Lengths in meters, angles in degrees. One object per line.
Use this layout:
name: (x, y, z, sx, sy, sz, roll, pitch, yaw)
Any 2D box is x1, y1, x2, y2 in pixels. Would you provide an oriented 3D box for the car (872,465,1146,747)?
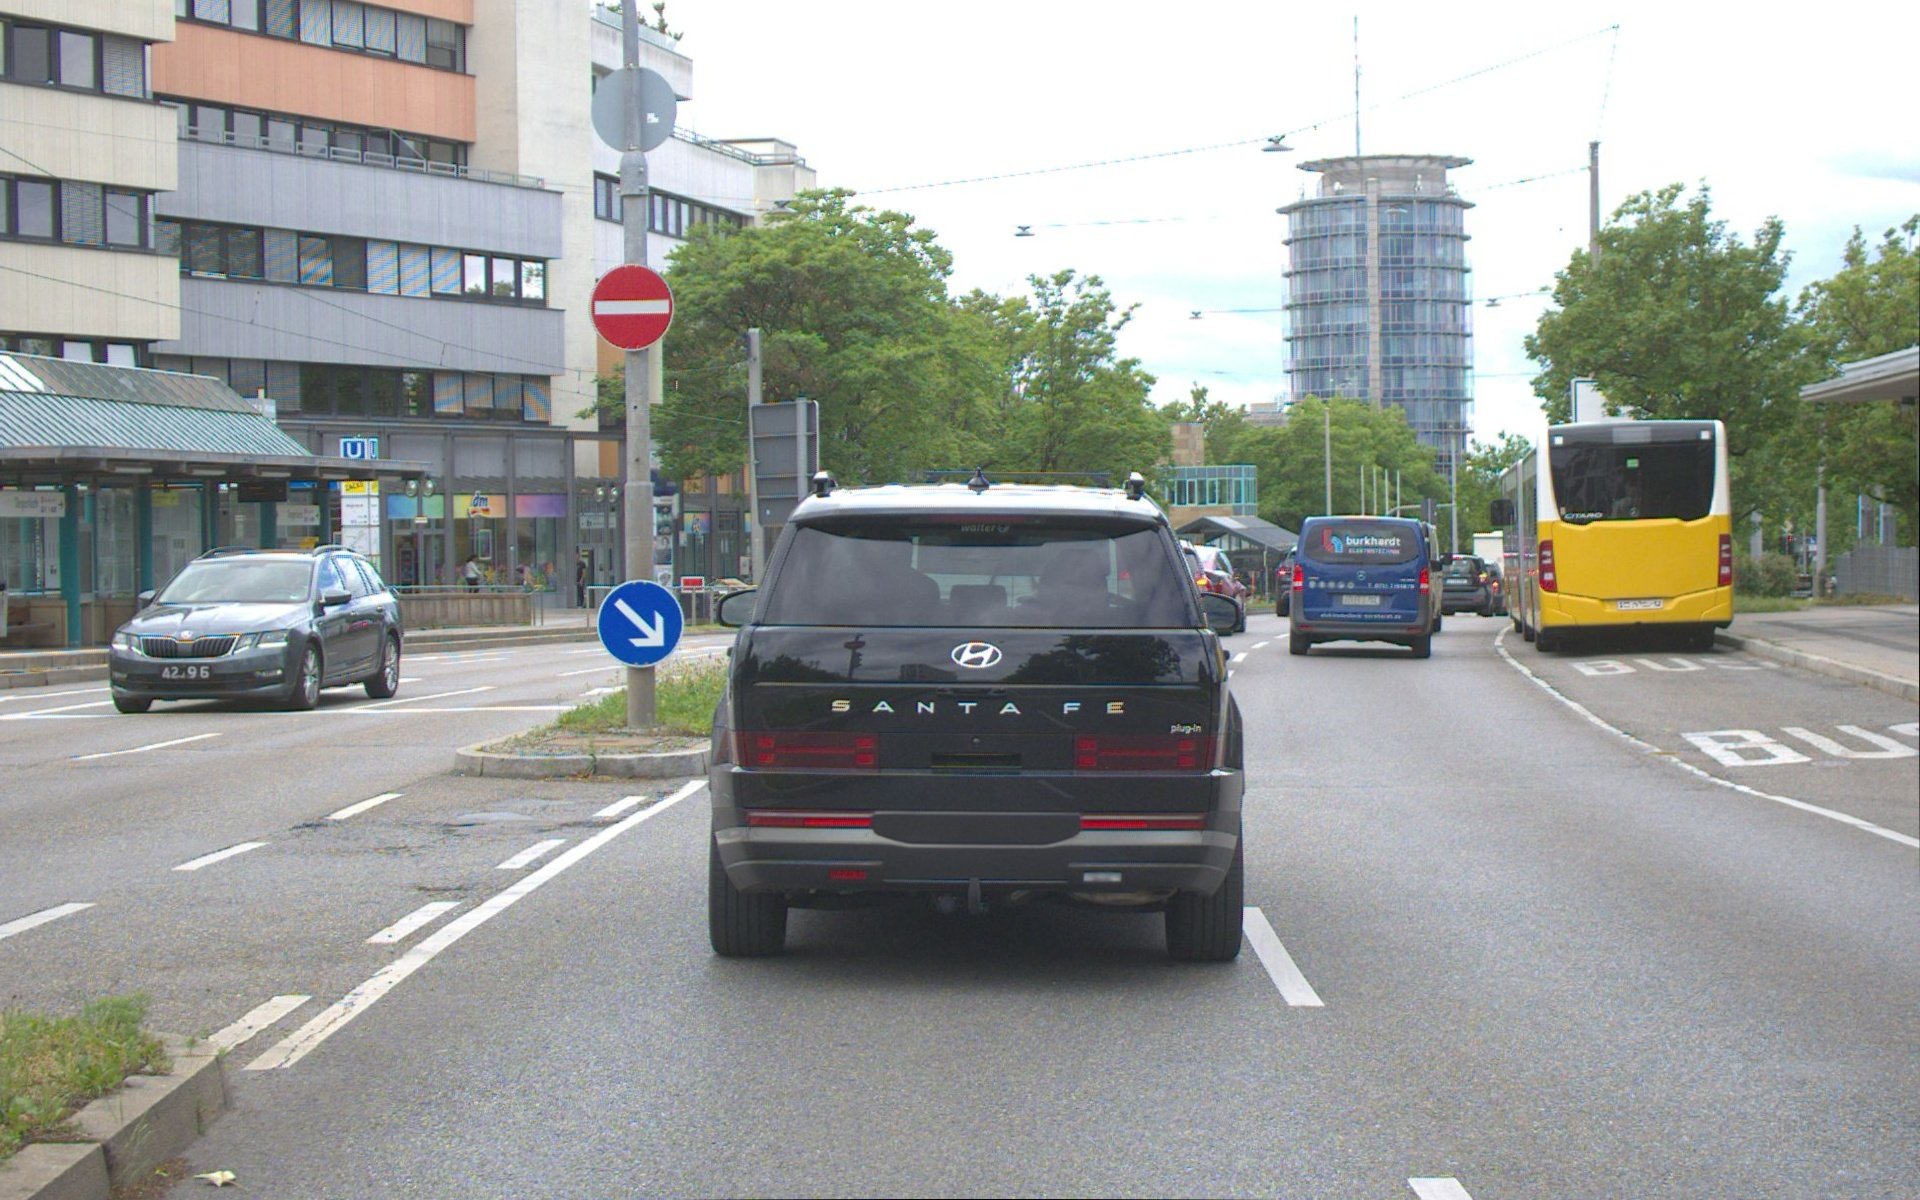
car: (0.418, -0.033, 26.583, 1.902, 1.962, 4.636, 1, 2, 2)

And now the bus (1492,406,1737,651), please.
bus: (9.222, -0.989, 49.327, 2.967, 3.106, 9.241, -2, 1, 8)

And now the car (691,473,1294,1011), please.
car: (-0.063, 0.392, 13.329, 1.902, 1.725, 4.447, 1, 2, -5)

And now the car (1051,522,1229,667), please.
car: (2.058, -0.119, 40.472, 1.902, 1.537, 4.710, 1, 2, 1)

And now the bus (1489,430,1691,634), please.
bus: (10.609, -1.139, 58.734, 2.953, 3.101, 9.973, -2, 1, 8)

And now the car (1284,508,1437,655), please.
car: (5.431, -0.307, 47.083, 1.902, 1.852, 4.709, 1, 2, 5)

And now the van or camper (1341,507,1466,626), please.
van or camper: (7.626, -0.618, 59.462, 1.994, 1.911, 4.408, 0, 2, 5)

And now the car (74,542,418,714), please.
car: (-6.478, 0.203, 31.702, 1.798, 1.450, 4.612, -1, 1, 6)
